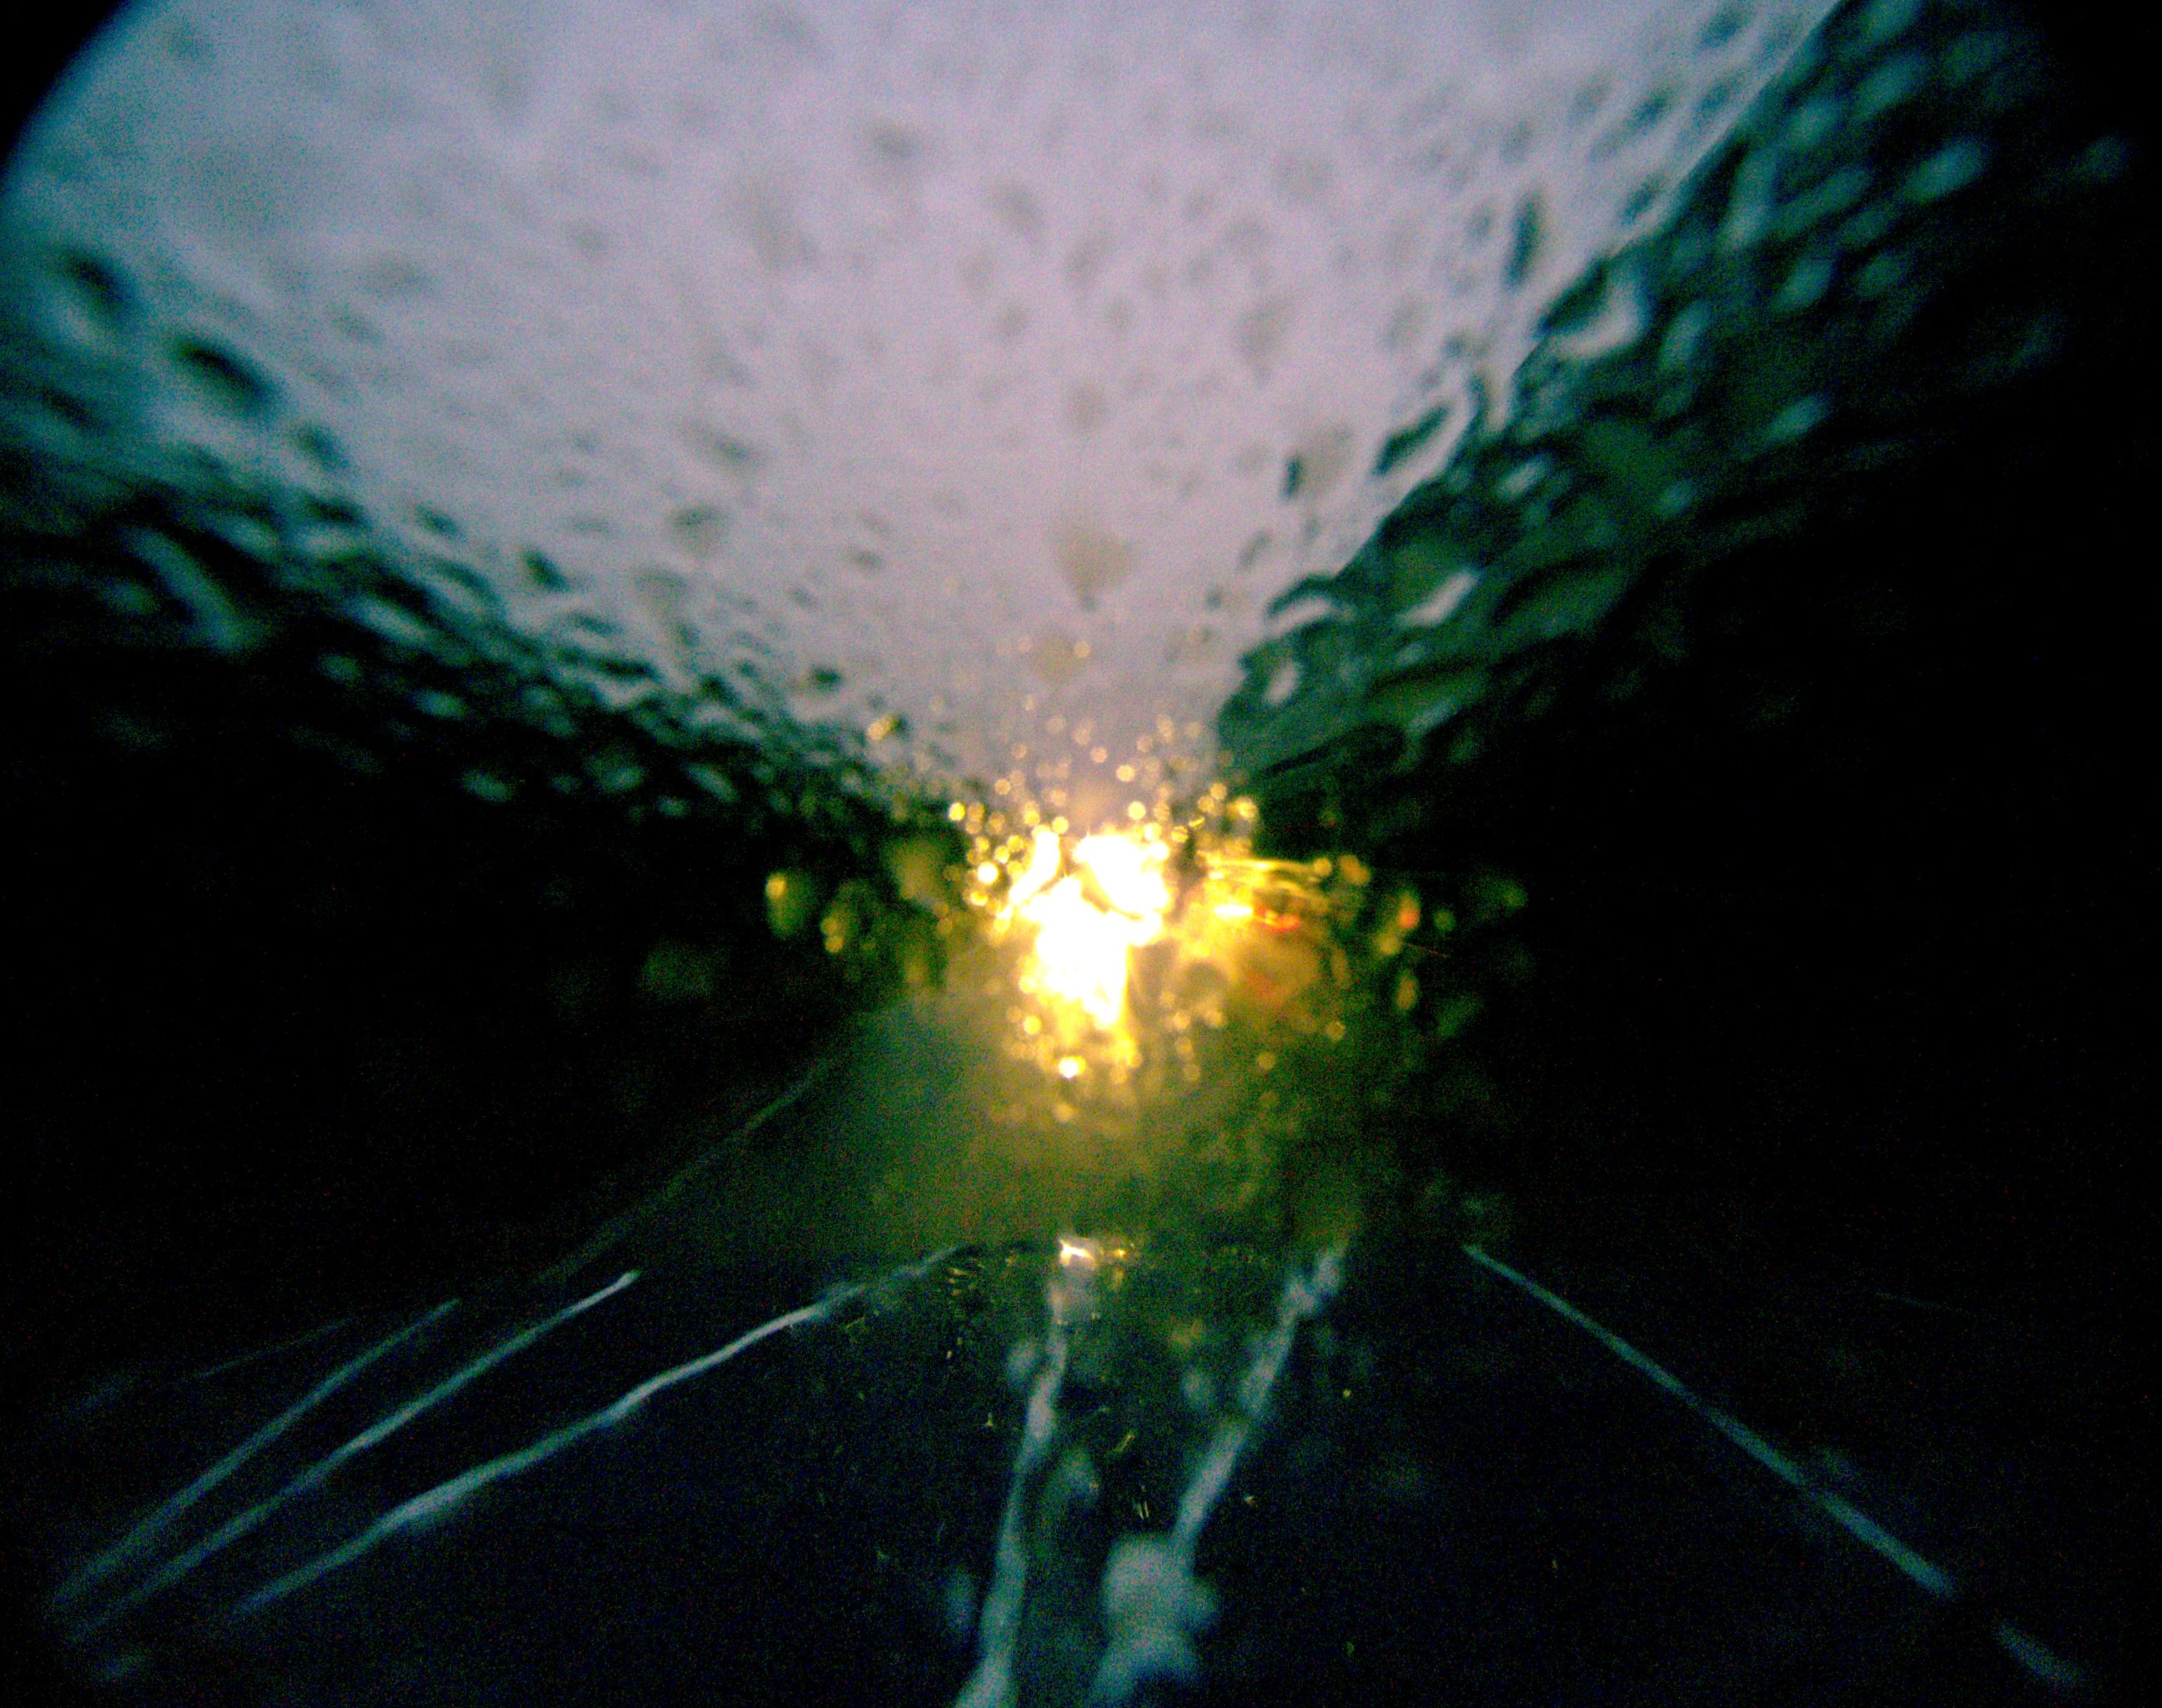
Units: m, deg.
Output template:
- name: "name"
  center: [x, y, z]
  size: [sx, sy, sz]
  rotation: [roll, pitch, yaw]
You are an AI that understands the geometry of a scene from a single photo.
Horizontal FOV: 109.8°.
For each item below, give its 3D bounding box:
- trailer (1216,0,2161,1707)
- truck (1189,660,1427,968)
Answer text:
- name: "trailer"
  center: [3.527, -0.571, 6.317]
  size: [2.677, 4.432, 12.241]
  rotation: [-2, 0, 1]
- name: "truck"
  center: [3.709, -0.589, 13.874]
  size: [2.648, 4.390, 5.553]
  rotation: [-2, 1, 1]
